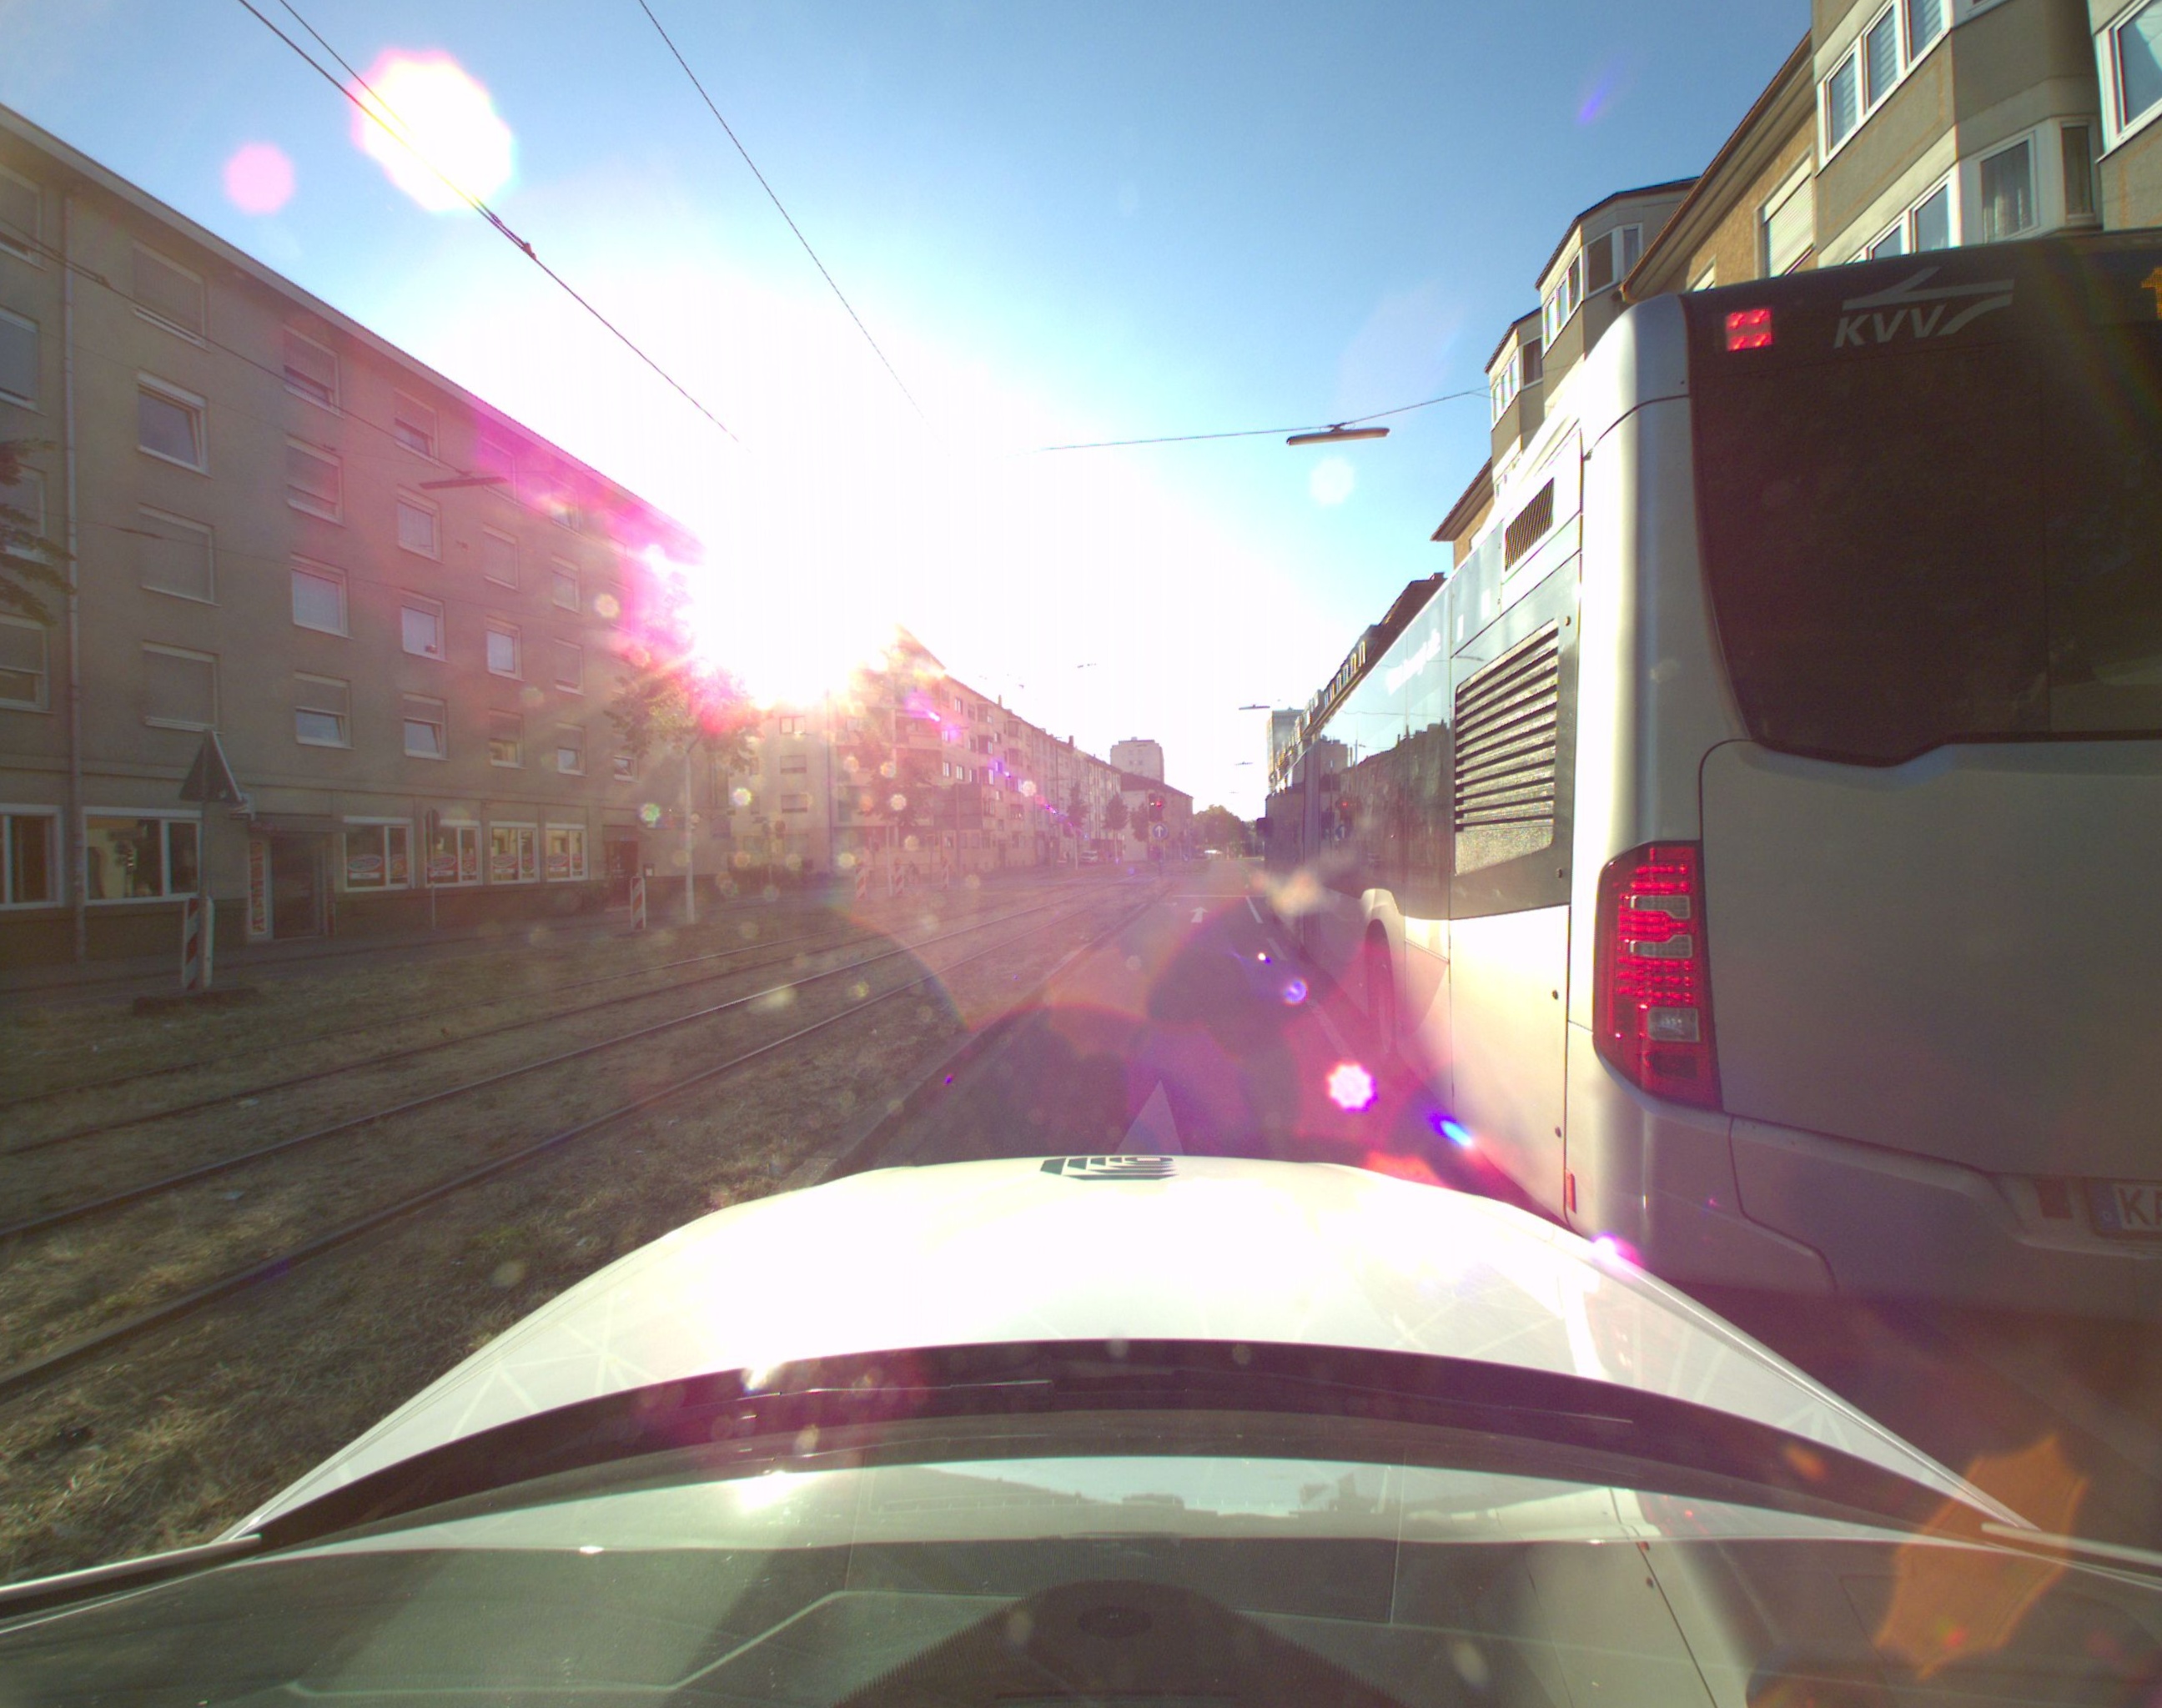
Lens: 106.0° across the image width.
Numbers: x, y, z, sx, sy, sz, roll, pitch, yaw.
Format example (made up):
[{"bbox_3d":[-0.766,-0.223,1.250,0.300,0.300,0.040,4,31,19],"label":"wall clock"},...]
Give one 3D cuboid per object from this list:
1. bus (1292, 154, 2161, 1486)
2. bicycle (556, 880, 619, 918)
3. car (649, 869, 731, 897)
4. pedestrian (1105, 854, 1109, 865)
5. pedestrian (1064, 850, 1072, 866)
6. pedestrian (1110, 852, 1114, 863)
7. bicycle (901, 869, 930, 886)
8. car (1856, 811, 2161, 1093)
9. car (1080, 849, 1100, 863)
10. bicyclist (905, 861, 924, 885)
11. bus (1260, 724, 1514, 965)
[{"bbox_3d":[3.394,-0.099,6.216,2.722,3.056,8.878,0,0,10],"label":"bus"},{"bbox_3d":[-16.171,1.452,26.744,0.742,1.115,1.783,-2,0,10],"label":"bicycle"},{"bbox_3d":[-23.271,1.707,48.511,3.946,1.440,1.790,-2,0,-1],"label":"car"},{"bbox_3d":[3.975,0.837,124.028,0.492,1.658,0.410,-2,0,10],"label":"pedestrian"},{"bbox_3d":[-1.675,0.453,103.534,0.782,2.013,0.892,-2,0,6],"label":"pedestrian"},{"bbox_3d":[4.680,0.527,124.248,0.492,1.658,0.410,-2,0,10],"label":"pedestrian"},{"bbox_3d":[-10.516,1.487,51.759,0.522,0.984,1.895,-2,0,40],"label":"bicycle"},{"bbox_3d":[7.009,0.519,4.716,1.827,1.588,3.796,-2,0,10],"label":"car"},{"bbox_3d":[1.182,0.318,107.030,1.800,1.798,4.258,0,0,11],"label":"car"},{"bbox_3d":[-10.575,1.202,51.754,0.522,1.447,0.971,-2,-1,40],"label":"bicyclist"},{"bbox_3d":[4.926,-0.136,15.068,2.722,3.056,9.156,0,0,10],"label":"bus"}]
